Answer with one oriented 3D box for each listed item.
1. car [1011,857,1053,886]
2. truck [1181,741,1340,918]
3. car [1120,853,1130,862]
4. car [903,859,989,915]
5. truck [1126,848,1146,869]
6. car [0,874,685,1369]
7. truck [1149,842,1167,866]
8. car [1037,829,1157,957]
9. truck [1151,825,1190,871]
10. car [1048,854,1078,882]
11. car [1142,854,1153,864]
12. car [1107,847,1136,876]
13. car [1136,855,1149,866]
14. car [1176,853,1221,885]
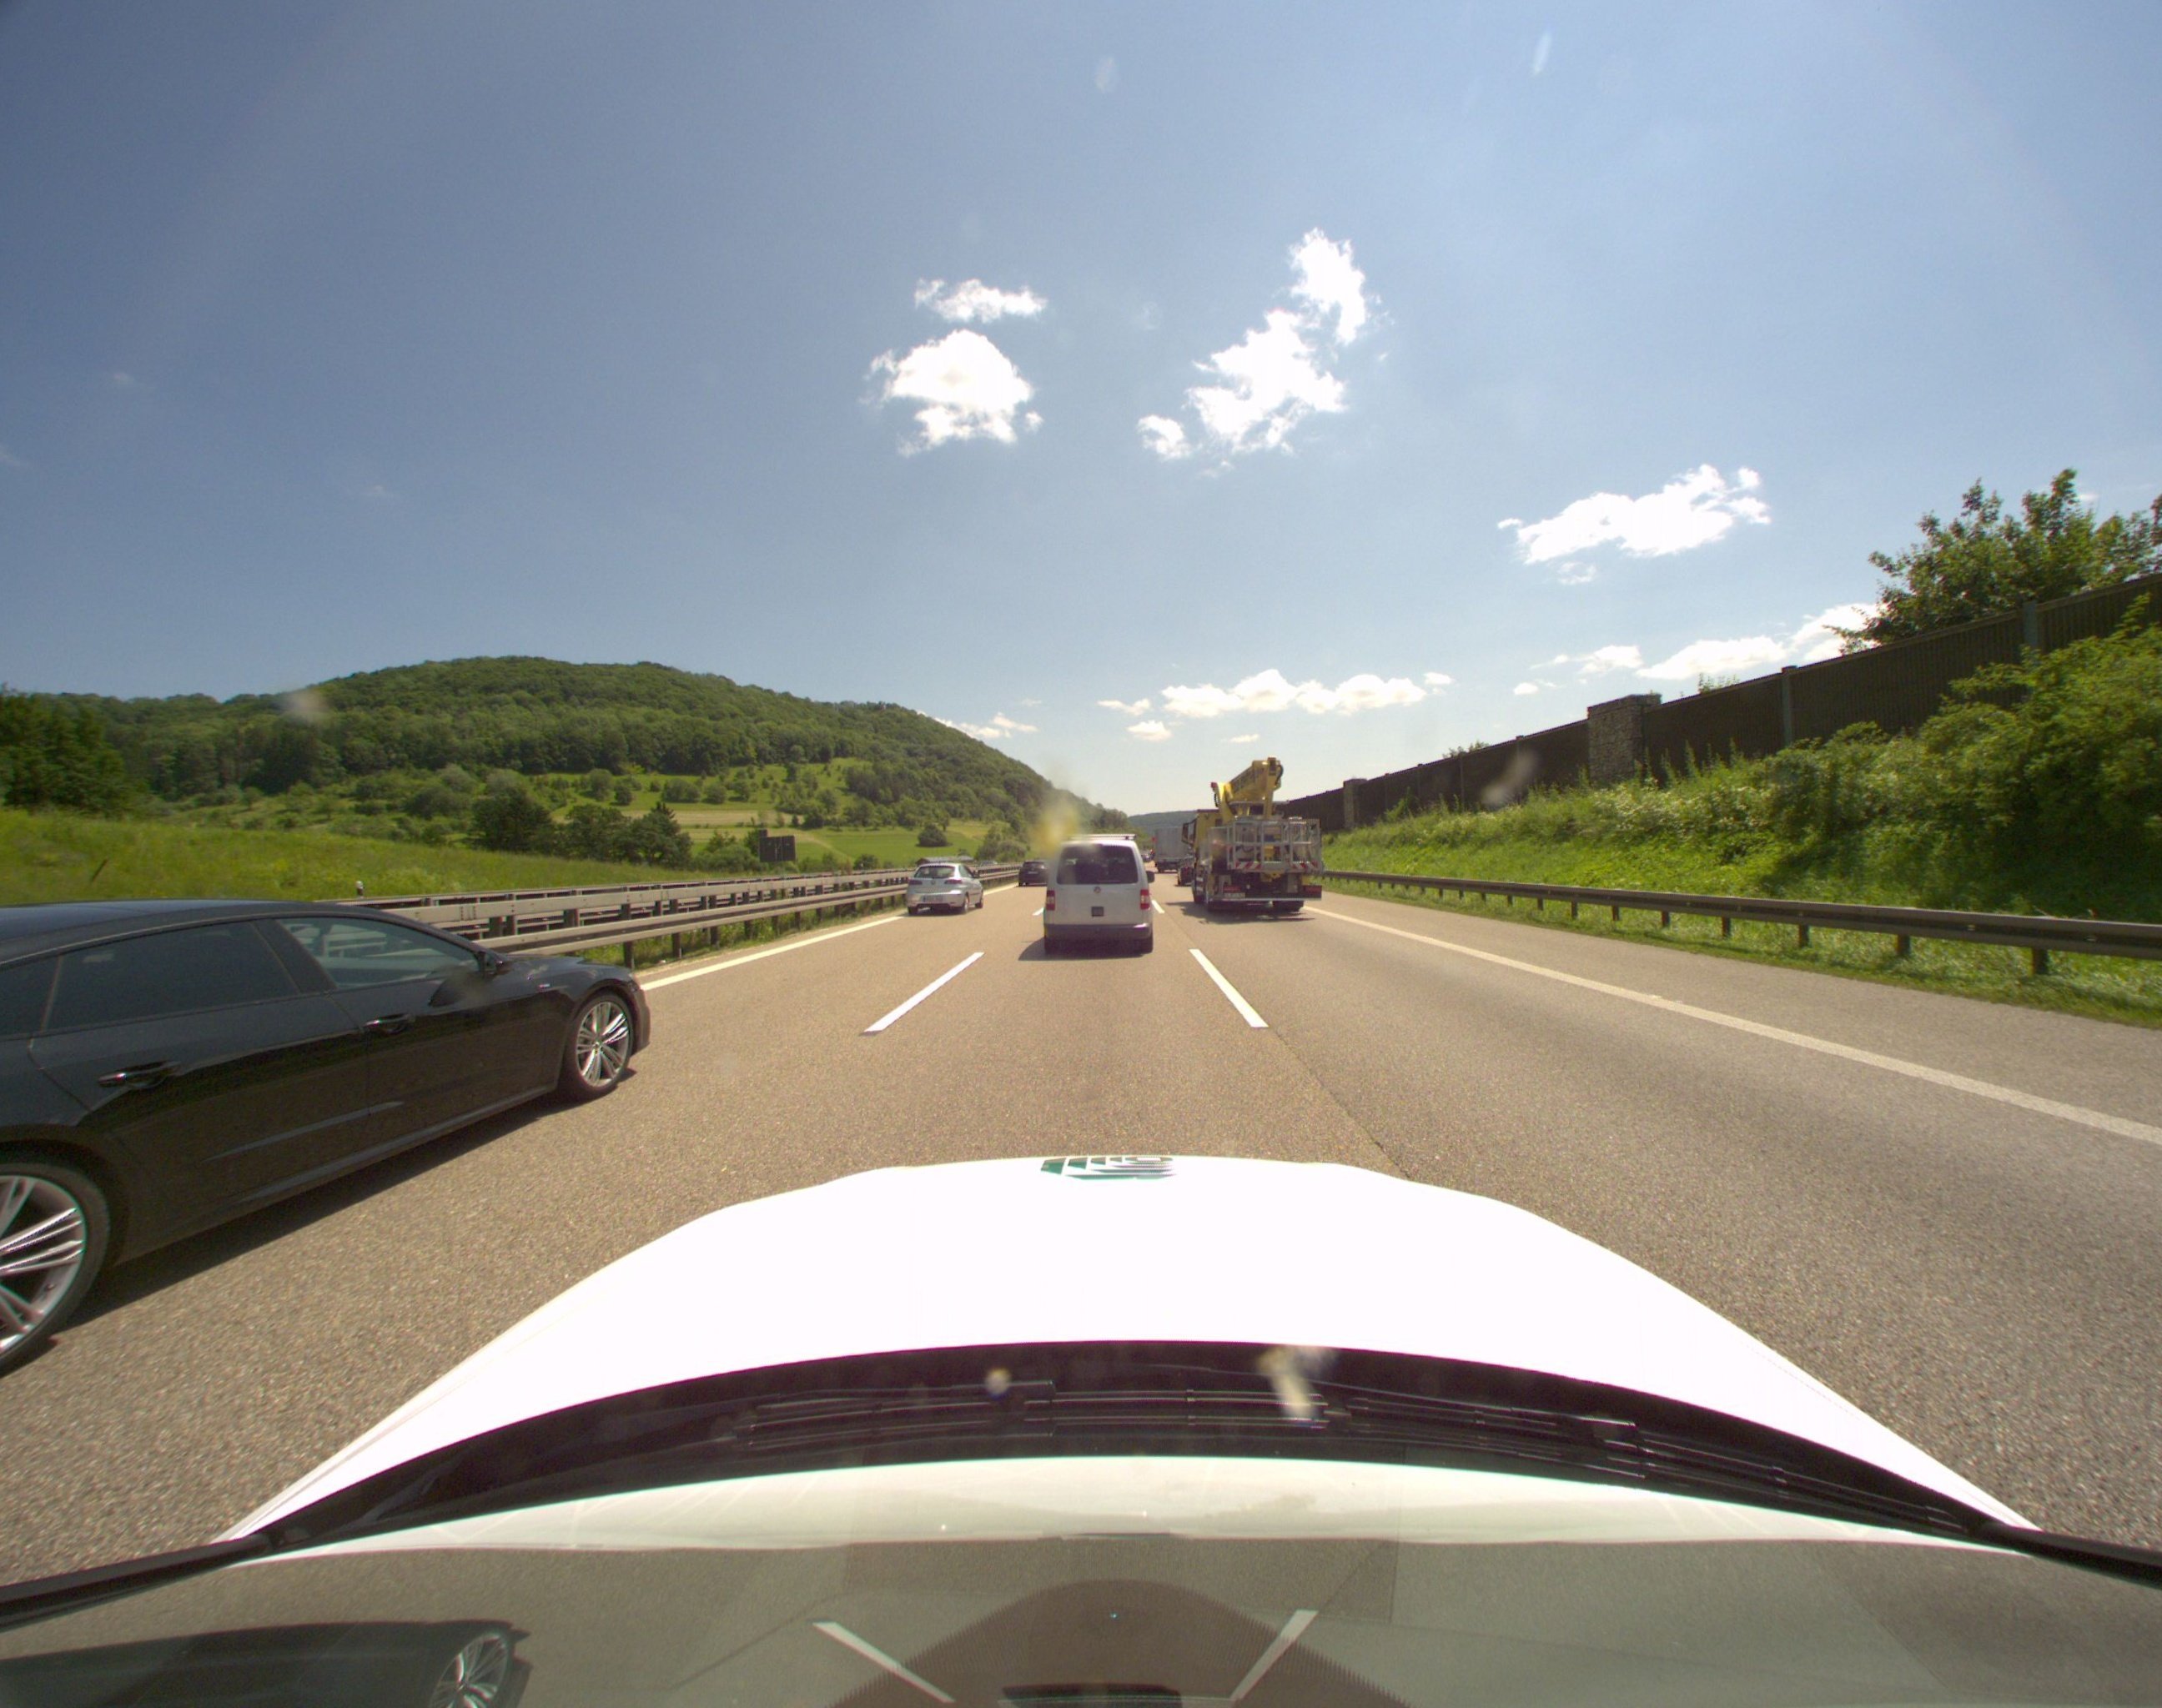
[{"bbox_3d":[-2.623,0.925,44.604,1.917,1.499,4.002,-1,0,2],"label":"car"},{"bbox_3d":[4.589,-0.540,22.765,2.693,3.942,8.725,-1,0,2],"label":"truck"},{"bbox_3d":[8.505,0.672,158.007,1.985,1.805,4.003,-1,-1,3],"label":"car"},{"bbox_3d":[-3.847,0.903,23.783,1.689,1.445,3.864,-1,0,2],"label":"car"},{"bbox_3d":[7.278,0.587,108.440,2.381,2.541,5.942,-1,0,2],"label":"truck"},{"bbox_3d":[-4.067,0.863,3.810,1.793,1.390,4.972,-1,0,2],"label":"car"},{"bbox_3d":[10.521,0.039,111.043,1.986,3.251,6.802,0,-1,2],"label":"truck"},{"bbox_3d":[0.309,0.588,14.203,1.749,1.868,4.002,-1,0,2],"label":"car"},{"bbox_3d":[7.809,-0.442,72.049,2.928,3.823,8.243,-1,-1,3],"label":"truck"},{"bbox_3d":[-1.319,1.020,61.037,1.986,2.013,4.002,-2,0,2],"label":"car"},{"bbox_3d":[12.829,0.966,157.964,1.985,1.805,4.003,-1,-1,3],"label":"car"},{"bbox_3d":[2.866,0.545,58.166,1.986,1.975,4.002,-1,0,2],"label":"car"},{"bbox_3d":[10.383,1.125,137.530,1.985,1.805,4.003,-1,-1,3],"label":"car"},{"bbox_3d":[5.835,0.724,40.828,1.779,1.458,3.772,-1,0,2],"label":"car"}]
